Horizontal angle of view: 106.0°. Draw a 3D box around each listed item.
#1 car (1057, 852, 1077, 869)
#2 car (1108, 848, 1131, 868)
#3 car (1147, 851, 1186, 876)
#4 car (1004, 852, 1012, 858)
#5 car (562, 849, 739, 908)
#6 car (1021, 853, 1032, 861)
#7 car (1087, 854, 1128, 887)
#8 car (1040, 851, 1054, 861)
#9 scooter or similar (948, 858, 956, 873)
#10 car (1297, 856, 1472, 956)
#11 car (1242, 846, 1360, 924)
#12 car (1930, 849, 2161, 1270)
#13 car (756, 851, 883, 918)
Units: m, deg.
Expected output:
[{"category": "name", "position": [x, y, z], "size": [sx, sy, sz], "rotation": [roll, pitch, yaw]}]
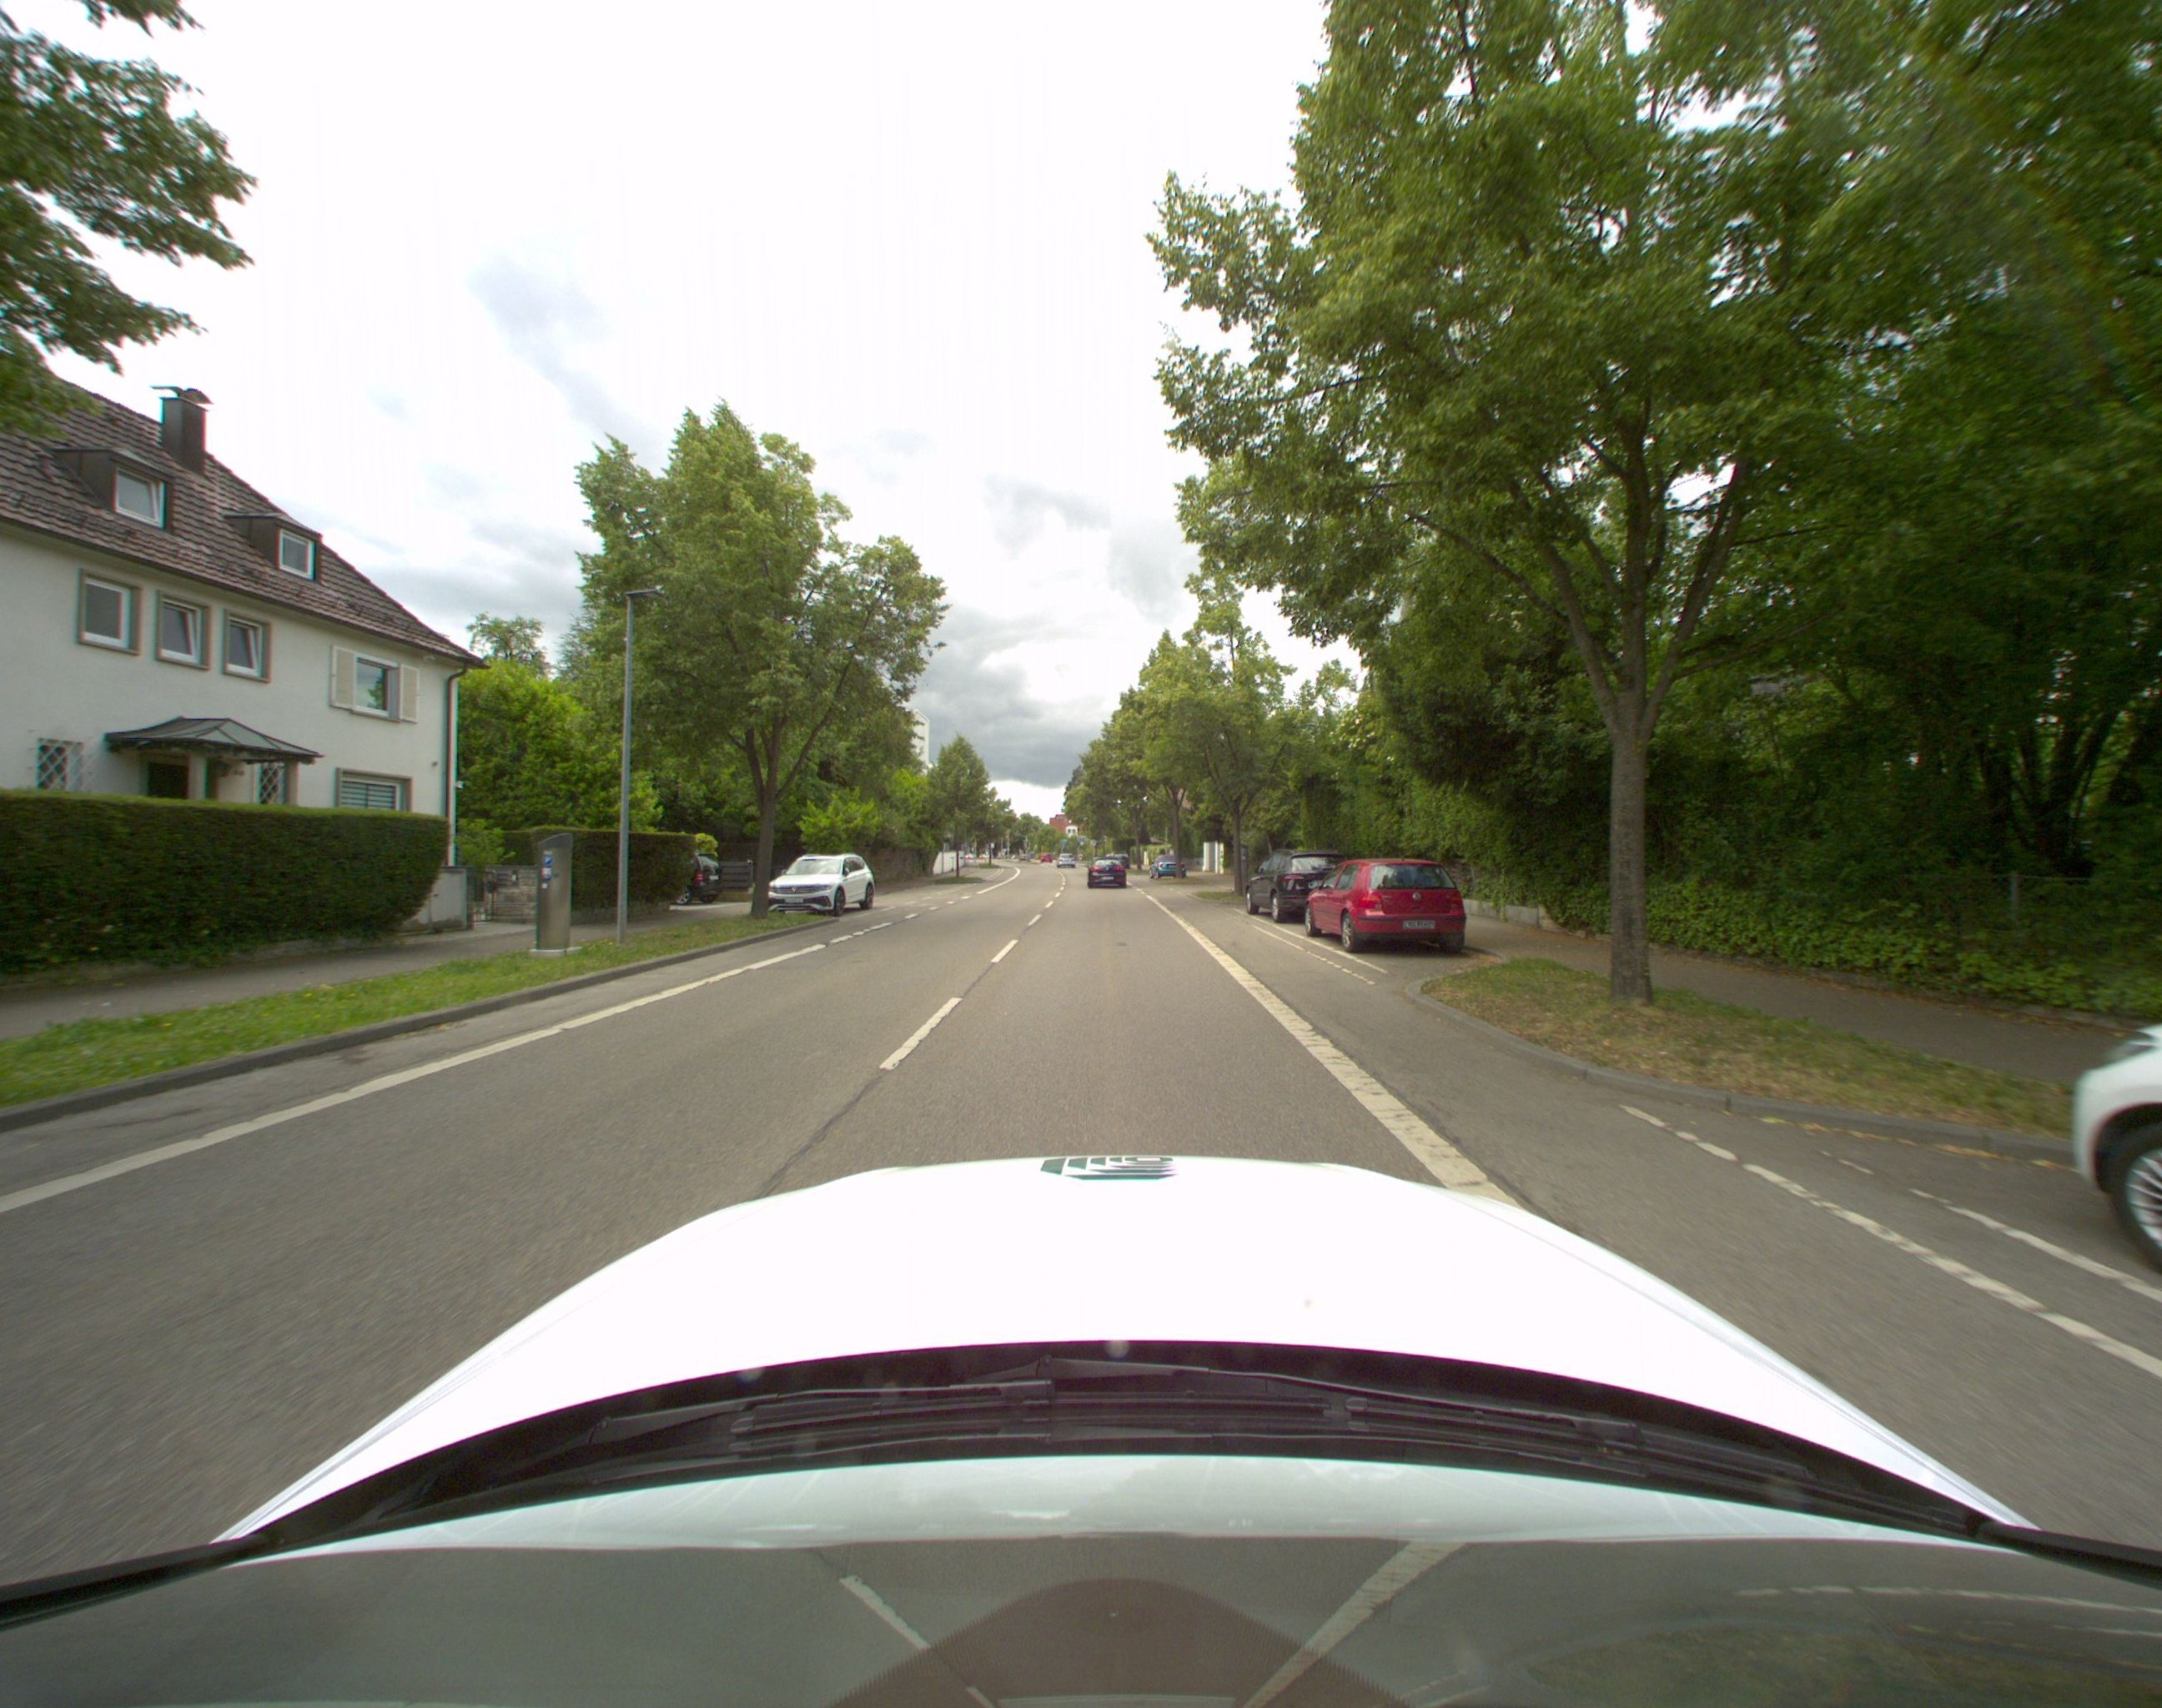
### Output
[{"category": "car", "position": [-1.521, 0.690, 86.234], "size": [1.989, 1.558, 3.996], "rotation": [-1, -2, -2]}, {"category": "car", "position": [3.562, 0.393, 76.290], "size": [1.785, 1.772, 3.977], "rotation": [0, 0, -3]}, {"category": "car", "position": [5.055, 0.545, 48.694], "size": [1.679, 1.432, 4.039], "rotation": [0, 0, -3]}, {"category": "car", "position": [-19.938, 0.344, 221.350], "size": [1.968, 1.675, 3.874], "rotation": [0, 0, -2]}, {"category": "car", "position": [-12.394, 0.688, 23.623], "size": [4.182, 1.585, 1.765], "rotation": [-1, 0, 1]}, {"category": "car", "position": [-10.508, 0.588, 156.790], "size": [1.989, 1.508, 3.995], "rotation": [0, -1, -3]}, {"category": "car", "position": [1.170, 0.744, 37.755], "size": [1.778, 1.449, 3.557], "rotation": [0, 0, -1]}, {"category": "car", "position": [-5.072, 0.295, 121.187], "size": [1.991, 1.530, 3.992], "rotation": [0, 0, -6]}, {"category": "scooter or similar", "position": [-10.345, 0.901, 65.388], "size": [0.500, 1.154, 1.299], "rotation": [0, 0, -4]}, {"category": "car", "position": [4.879, 0.749, 13.668], "size": [1.631, 1.420, 4.004], "rotation": [-1, 0, 3]}, {"category": "car", "position": [5.016, 0.651, 19.147], "size": [1.633, 1.615, 4.168], "rotation": [0, 0, -1]}, {"category": "car", "position": [4.528, 0.708, 1.773], "size": [1.610, 1.460, 3.658], "rotation": [-1, 0, 2]}, {"category": "car", "position": [-7.193, 0.770, 22.968], "size": [1.867, 1.688, 4.867], "rotation": [-1, 0, 2]}]
